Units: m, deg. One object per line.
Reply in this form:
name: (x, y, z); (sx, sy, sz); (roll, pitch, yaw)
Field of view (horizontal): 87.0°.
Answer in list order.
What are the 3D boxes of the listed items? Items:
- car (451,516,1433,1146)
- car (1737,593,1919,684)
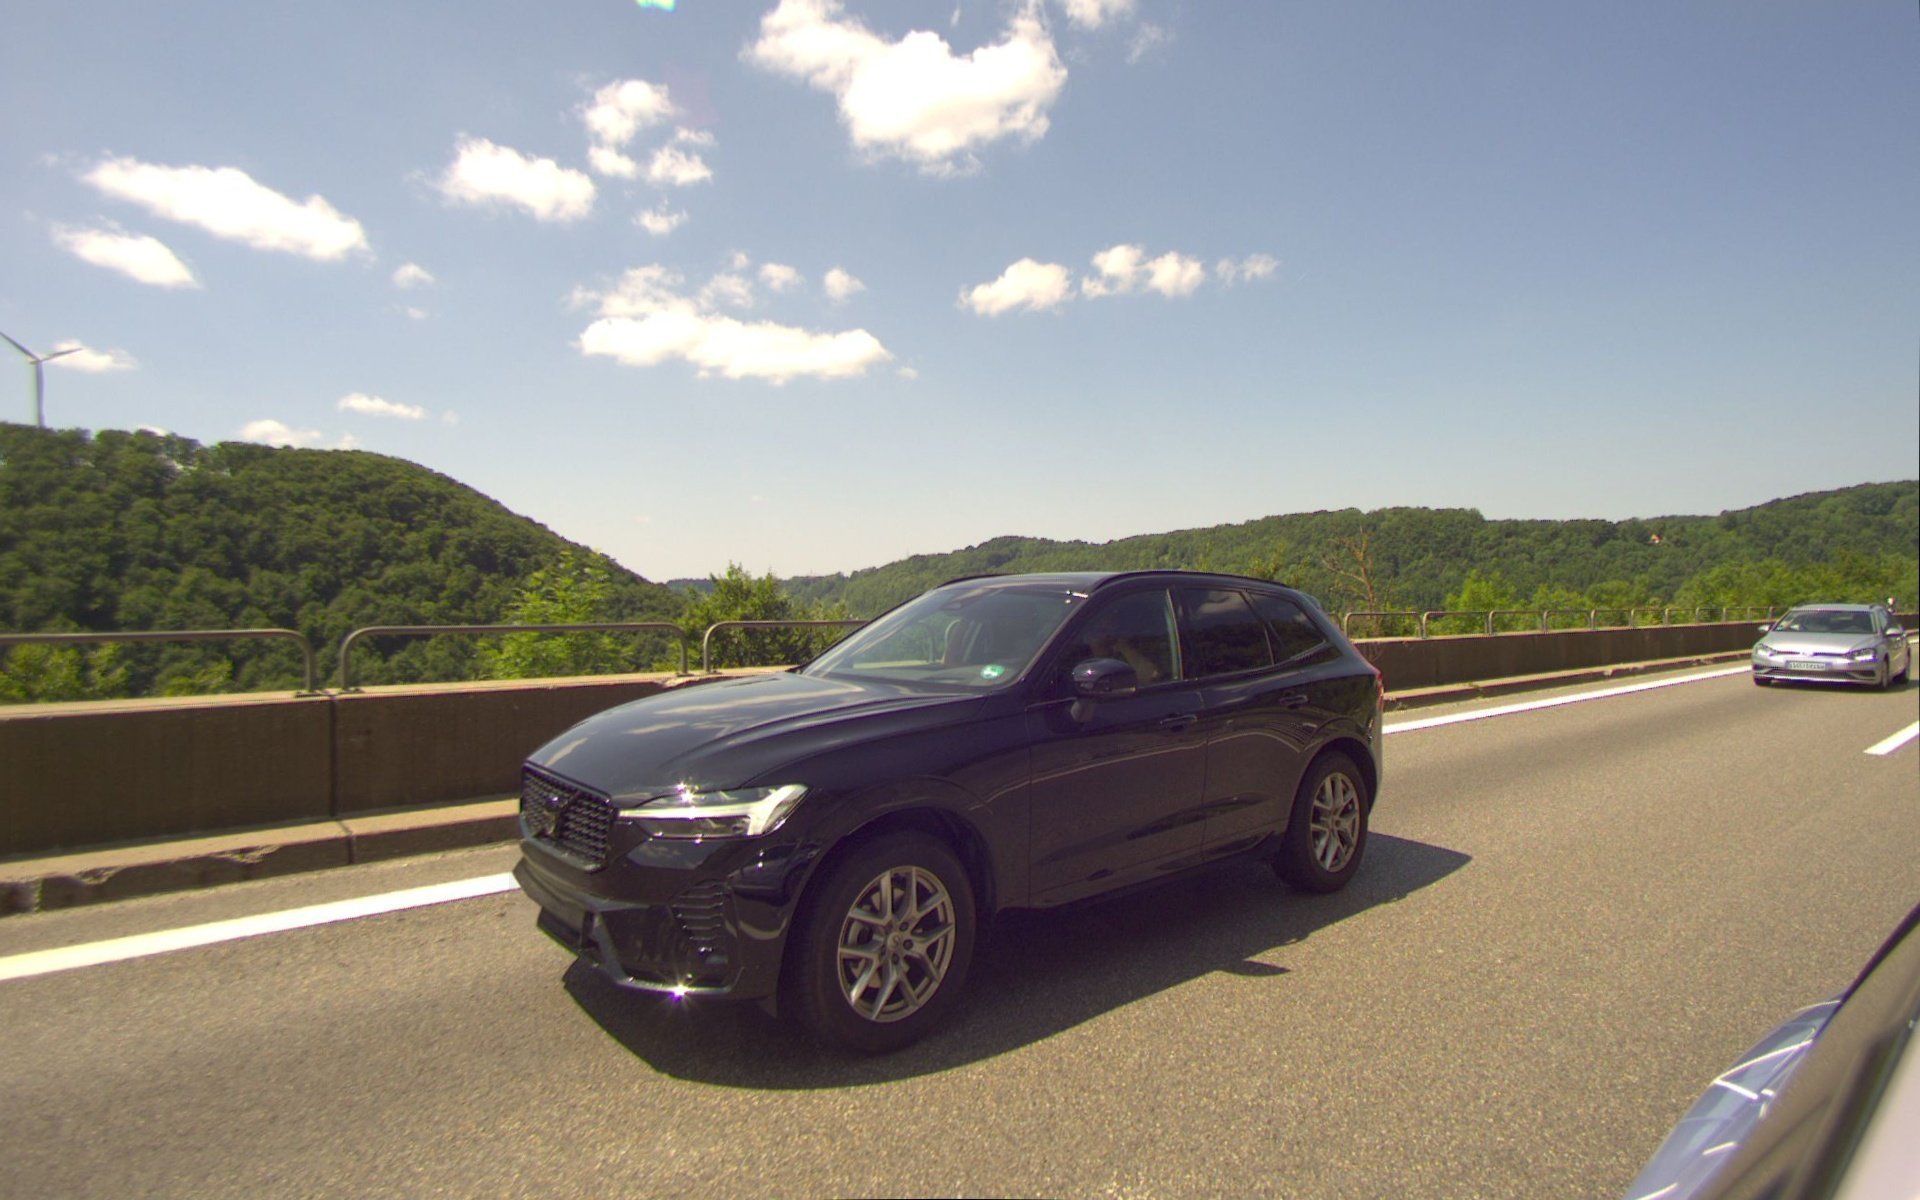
car: (0.279, 0.591, 4.844); (4.579, 1.654, 1.838); (0, 0, -40)
car: (15.754, 0.596, 18.130); (4.216, 1.395, 1.972); (-1, 1, -39)
